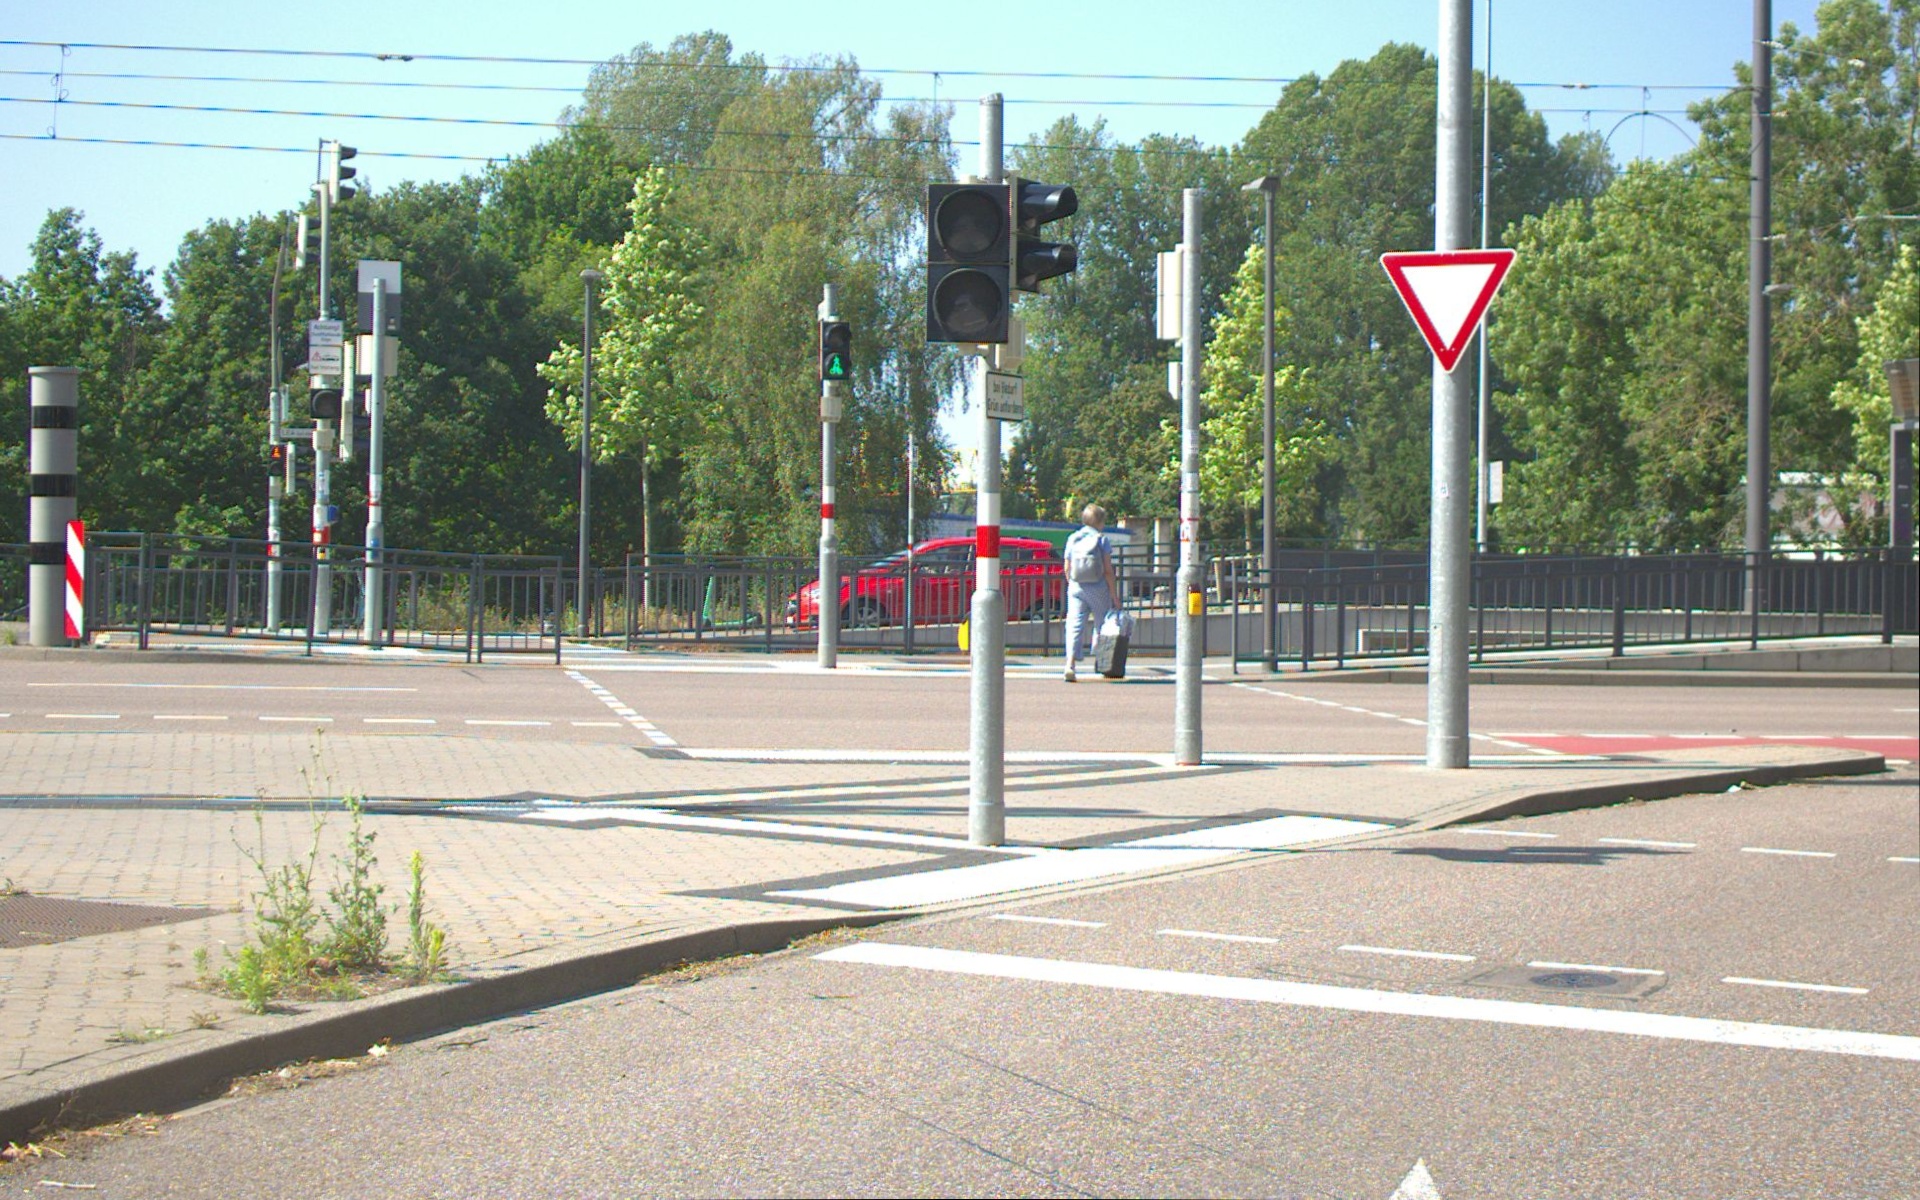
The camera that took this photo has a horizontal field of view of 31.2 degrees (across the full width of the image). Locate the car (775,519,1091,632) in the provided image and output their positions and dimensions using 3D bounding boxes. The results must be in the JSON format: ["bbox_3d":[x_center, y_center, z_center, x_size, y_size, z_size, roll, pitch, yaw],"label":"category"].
[{"bbox_3d":[-0.382,-0.335,46.845,3.986,1.440,1.747,1,2,-14],"label":"car"}]

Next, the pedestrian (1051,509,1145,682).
[{"bbox_3d":[1.236,-0.056,30.969,0.773,1.505,1.007,1,2,-1],"label":"pedestrian"}]
